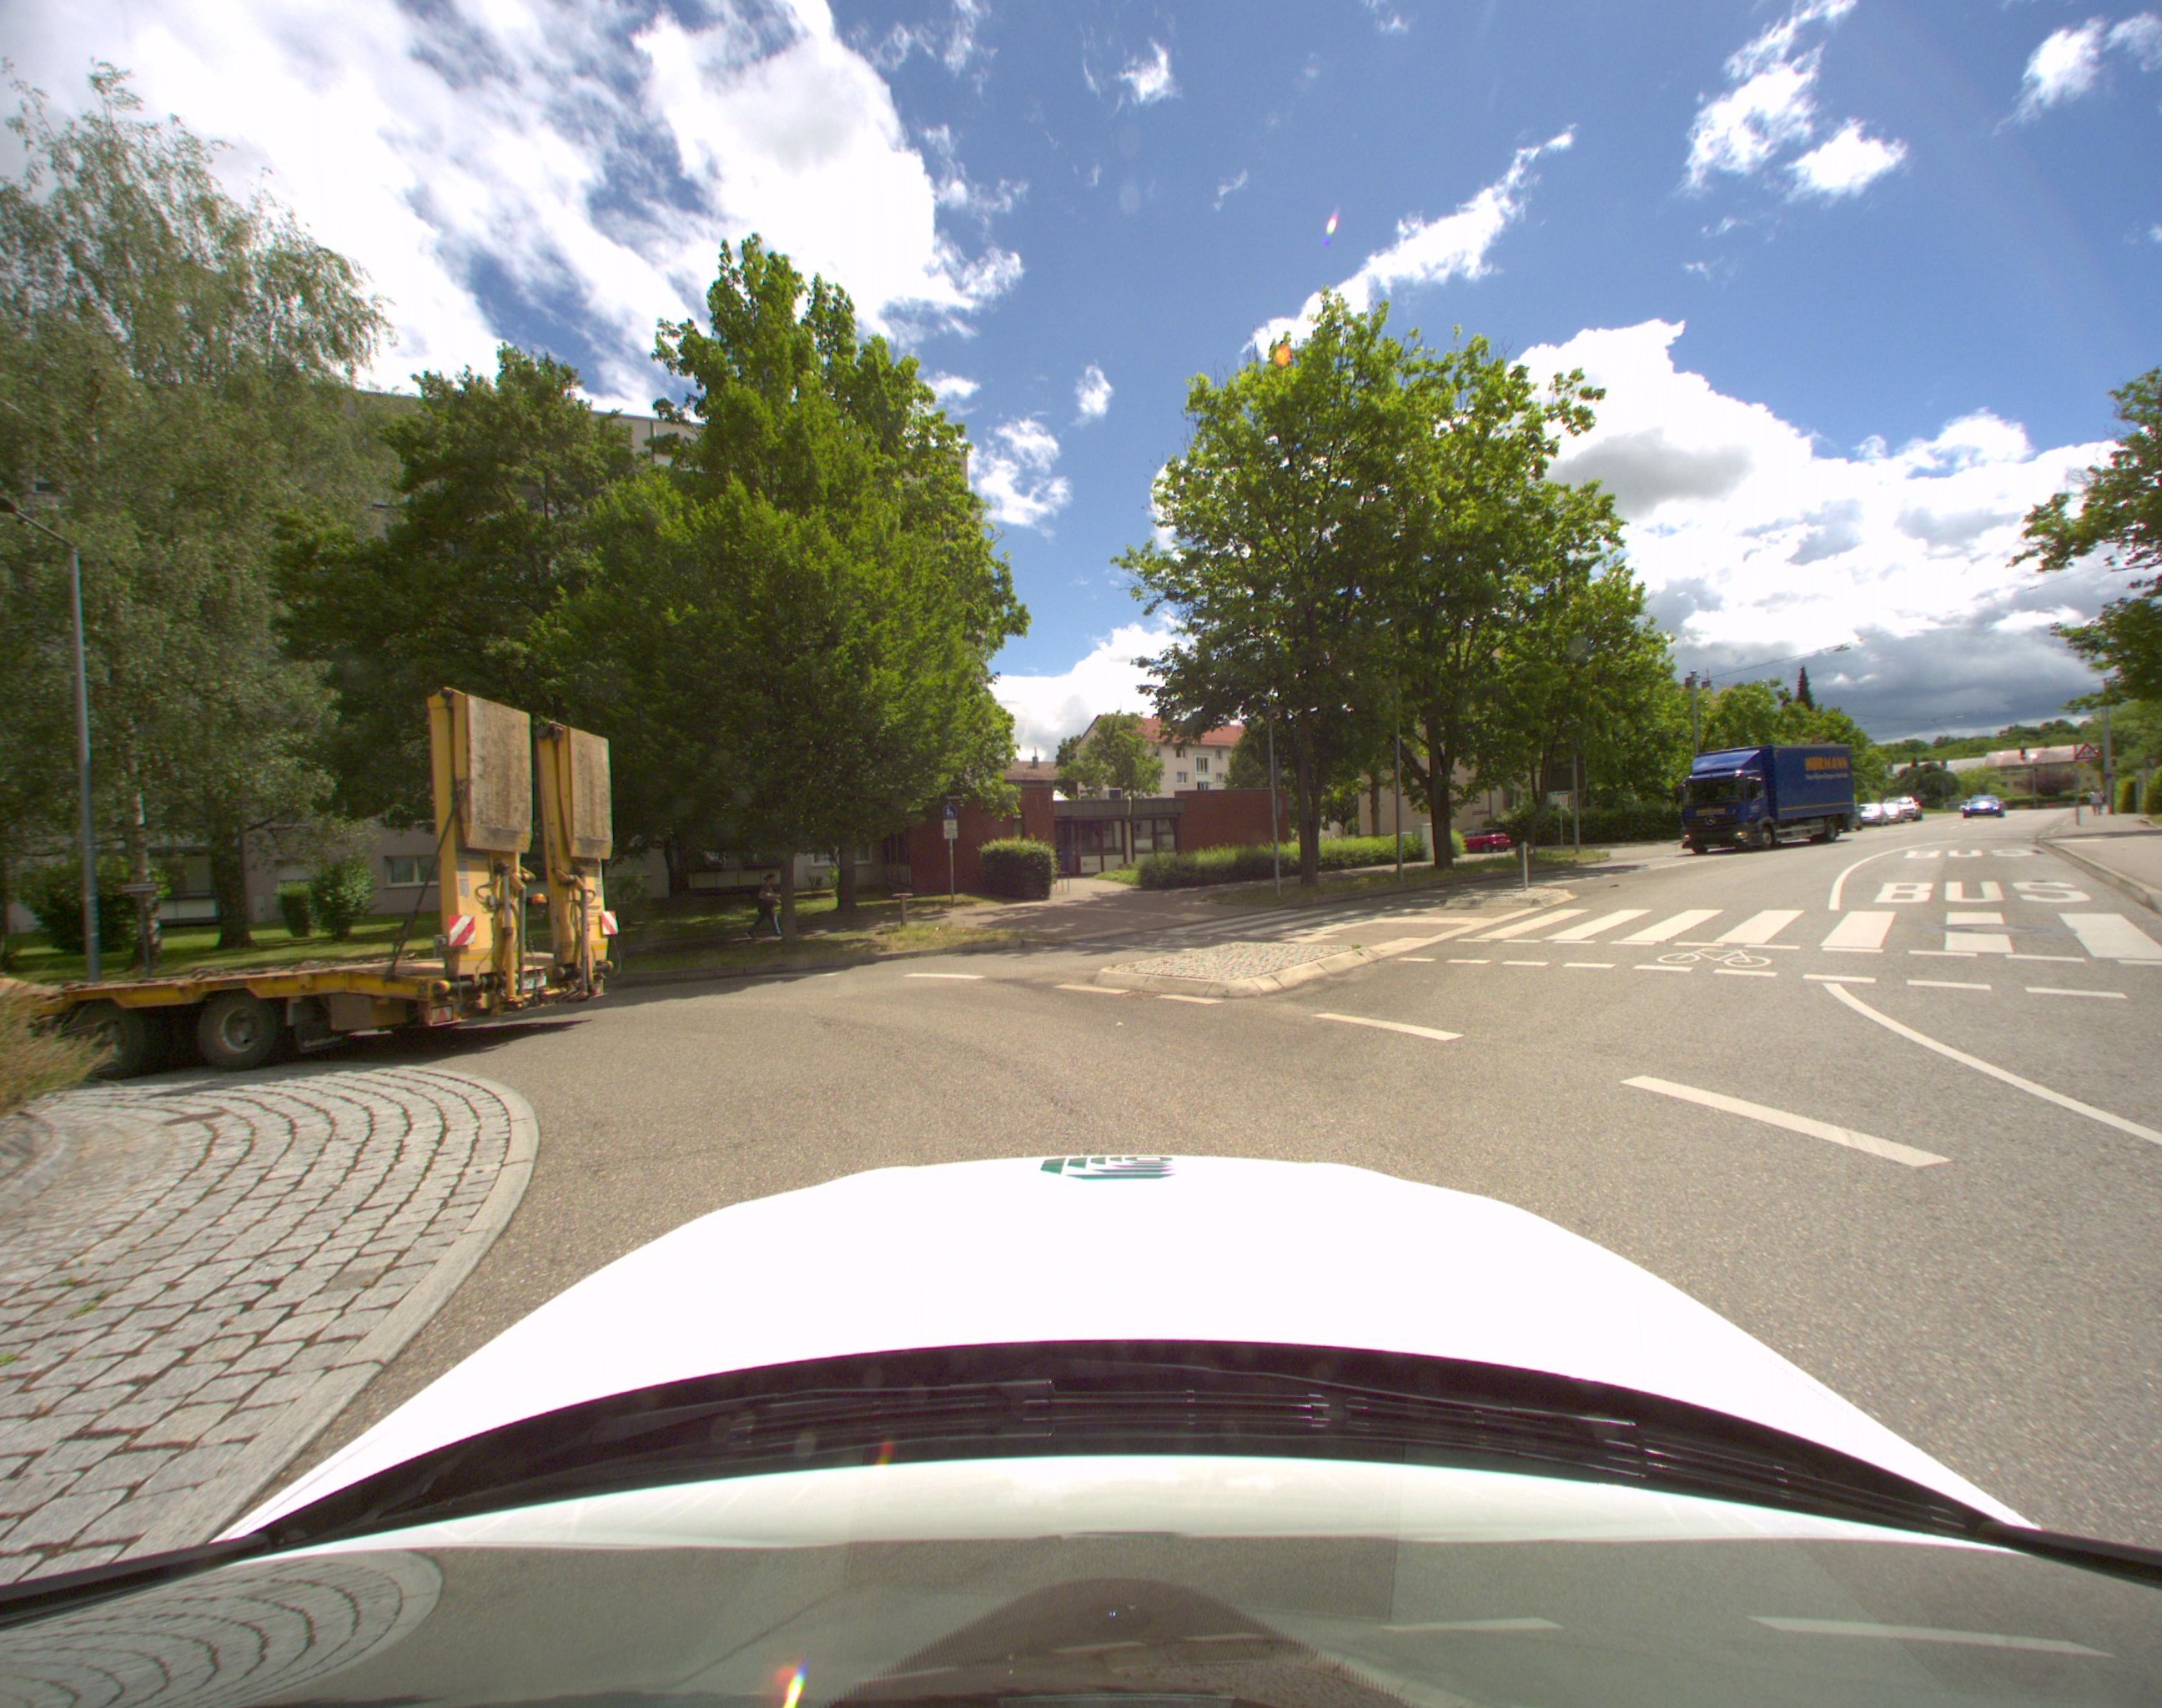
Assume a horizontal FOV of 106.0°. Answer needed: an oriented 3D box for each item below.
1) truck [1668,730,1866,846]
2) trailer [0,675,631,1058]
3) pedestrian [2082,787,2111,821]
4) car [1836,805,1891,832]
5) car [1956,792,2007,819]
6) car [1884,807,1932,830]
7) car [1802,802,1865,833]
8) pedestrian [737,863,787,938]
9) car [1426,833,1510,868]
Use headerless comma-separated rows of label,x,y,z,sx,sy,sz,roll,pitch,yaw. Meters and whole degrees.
truck,28.134,-2.610,33.220,9.825,4.152,2.763,-3,0,-29
trailer,-11.108,0.197,8.977,10.758,3.372,2.876,-1,0,3
pedestrian,61.973,-3.053,49.691,1.047,2.013,1.012,-4,1,-40
car,49.400,-2.234,51.363,4.020,1.553,1.977,-2,0,-39
car,64.723,-3.453,58.507,4.017,1.780,1.978,-2,0,-35
car,59.264,-2.527,58.324,4.020,1.553,1.977,-2,0,-39
car,42.070,-2.013,45.502,4.020,1.553,1.977,-2,0,-39
pedestrian,-7.304,1.048,18.647,0.843,1.579,0.714,-6,1,-29
car,22.530,-0.189,47.533,2.026,1.941,3.958,-2,0,-34
